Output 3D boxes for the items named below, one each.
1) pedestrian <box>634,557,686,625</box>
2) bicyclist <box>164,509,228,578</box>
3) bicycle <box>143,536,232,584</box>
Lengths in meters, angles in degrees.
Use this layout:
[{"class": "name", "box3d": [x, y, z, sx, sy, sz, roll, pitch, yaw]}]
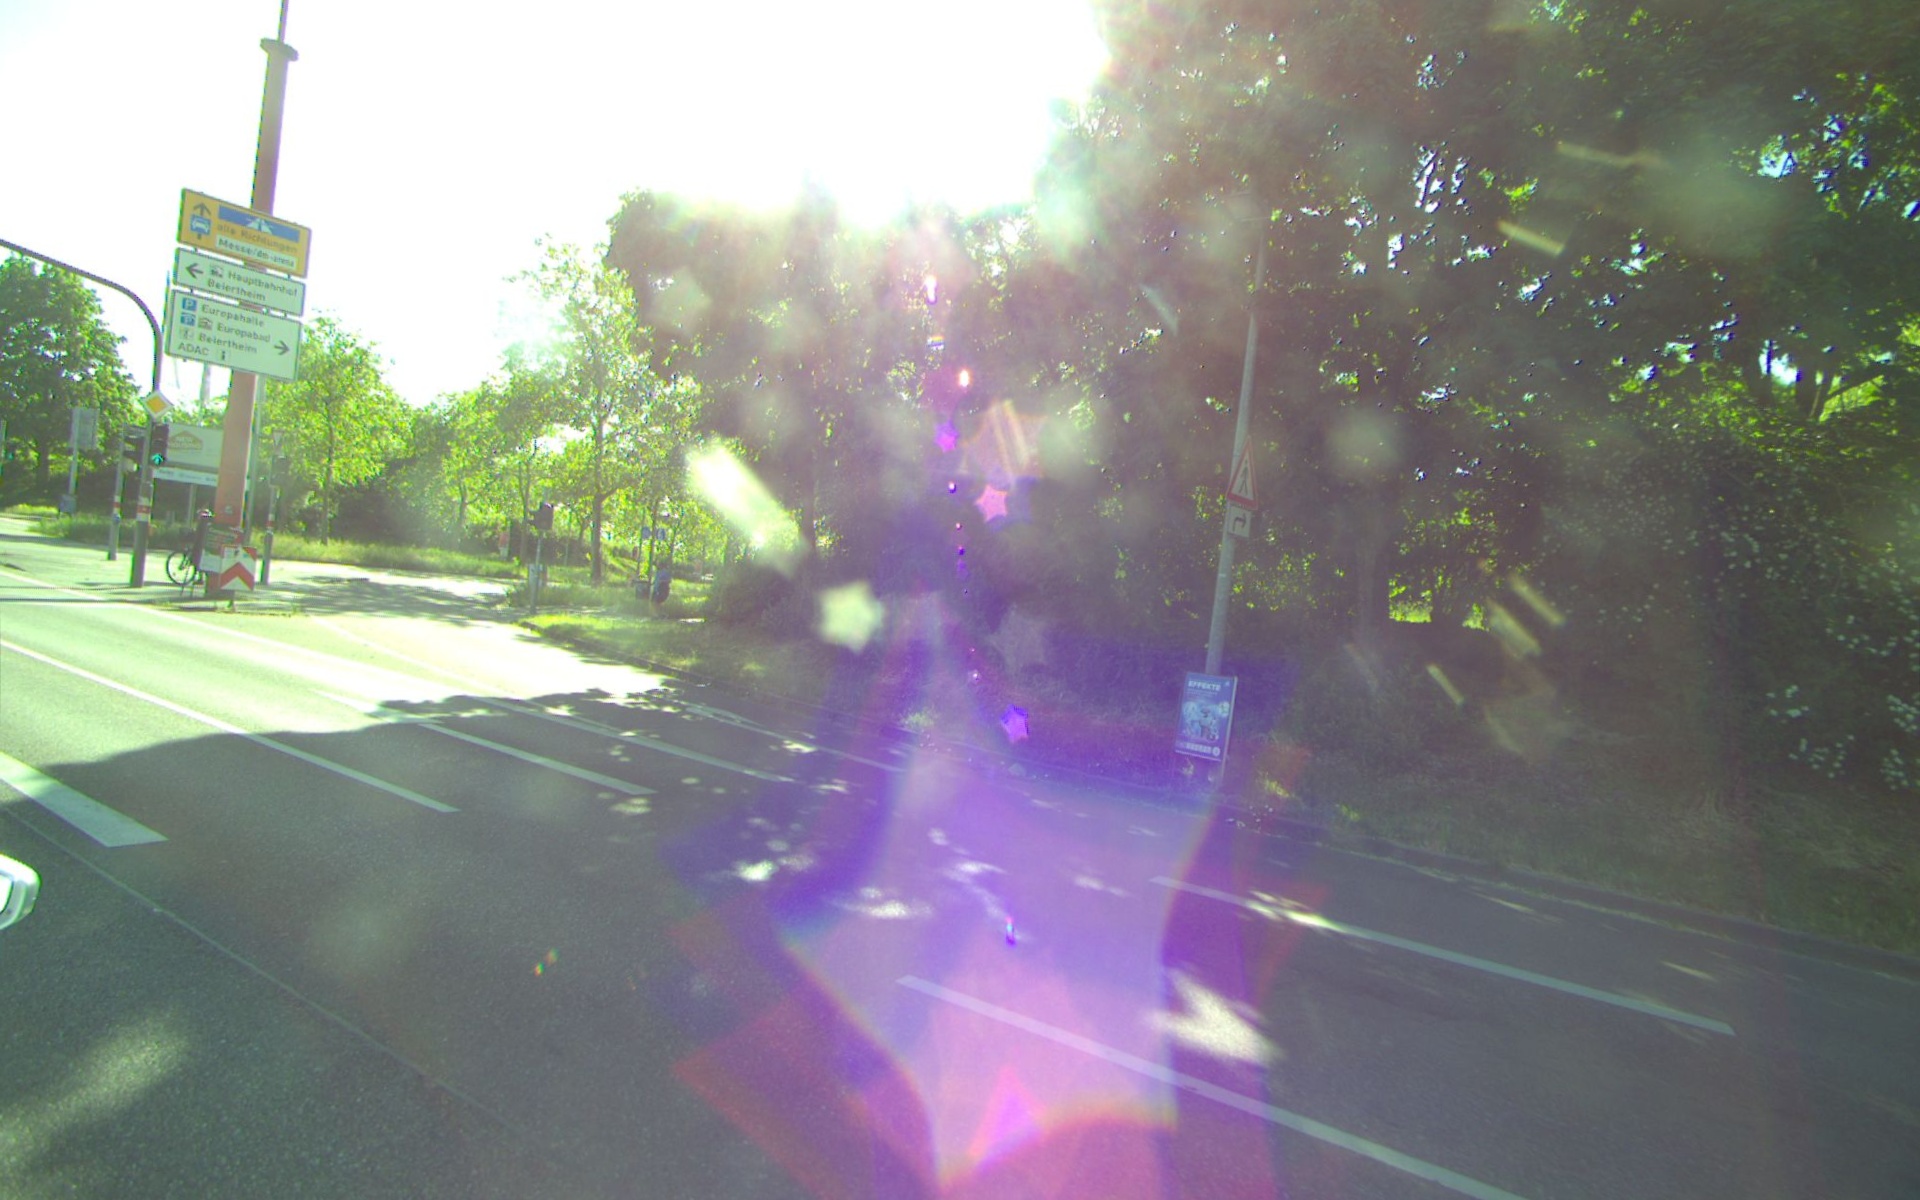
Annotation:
[{"class": "pedestrian", "box3d": [-8.789, -0.252, 29.486, 0.884, 1.810, 0.894, 8, 0, 21]}, {"class": "bicyclist", "box3d": [-16.236, -1.184, 21.399, 0.696, 1.358, 0.740, 7, 0, -11]}, {"class": "bicycle", "box3d": [-16.241, -0.823, 21.210, 0.551, 0.889, 2.163, 7, 0, -13]}]
